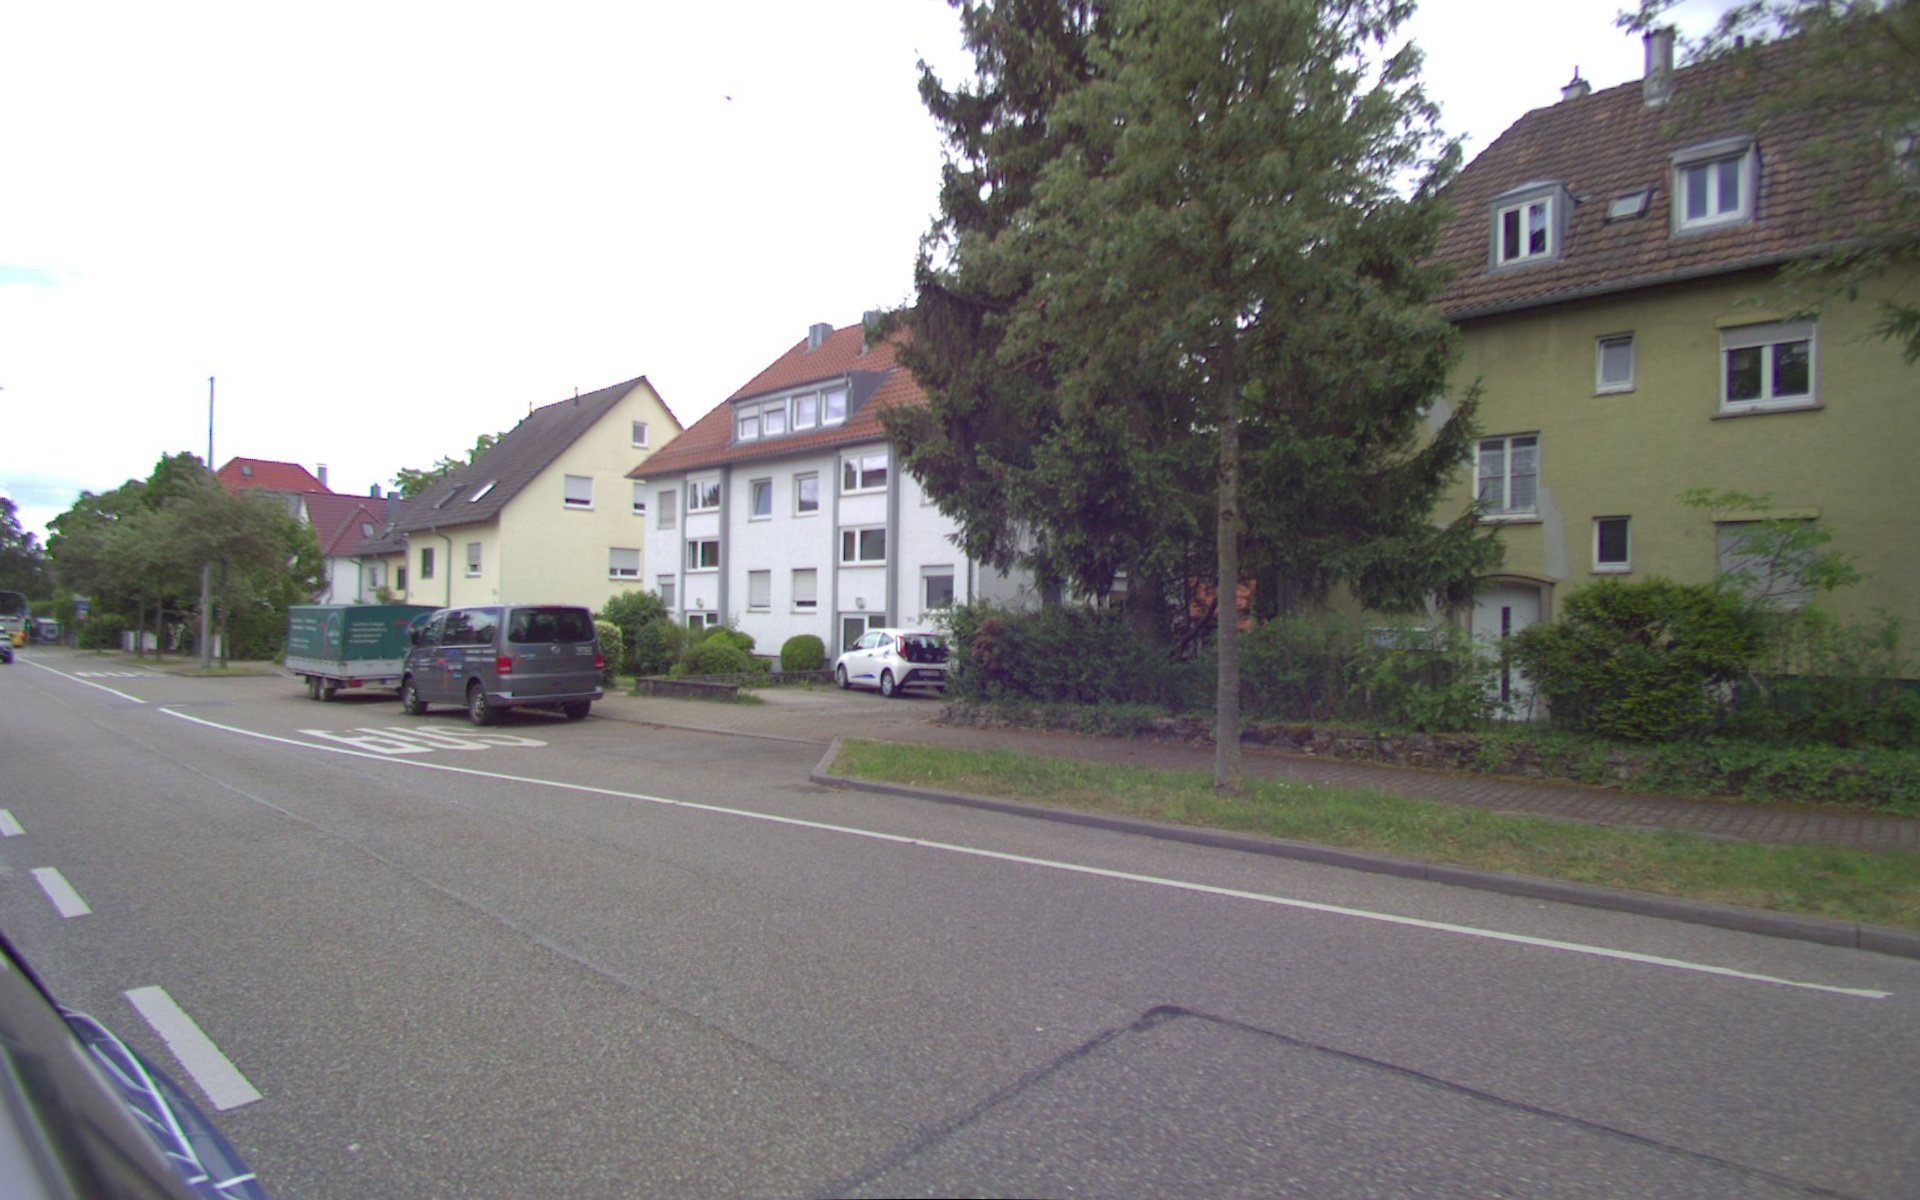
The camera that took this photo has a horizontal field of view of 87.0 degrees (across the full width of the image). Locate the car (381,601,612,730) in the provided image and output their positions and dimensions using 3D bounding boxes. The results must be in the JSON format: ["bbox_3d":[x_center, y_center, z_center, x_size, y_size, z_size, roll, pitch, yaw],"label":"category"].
[{"bbox_3d":[-8.263,1.084,17.824,4.898,1.964,1.972,-2,-3,43],"label":"car"}]

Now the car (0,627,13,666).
[{"bbox_3d":[-42.137,1.991,43.565,4.300,1.616,1.800,-2,-2,45],"label":"car"}]

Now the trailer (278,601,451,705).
[{"bbox_3d":[-13.398,1.147,22.668,4.425,2.104,2.131,-2,-3,42],"label":"trailer"}]

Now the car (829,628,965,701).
[{"bbox_3d":[-1.477,1.390,22.571,1.603,1.497,3.435,2,-3,-31],"label":"car"}]
